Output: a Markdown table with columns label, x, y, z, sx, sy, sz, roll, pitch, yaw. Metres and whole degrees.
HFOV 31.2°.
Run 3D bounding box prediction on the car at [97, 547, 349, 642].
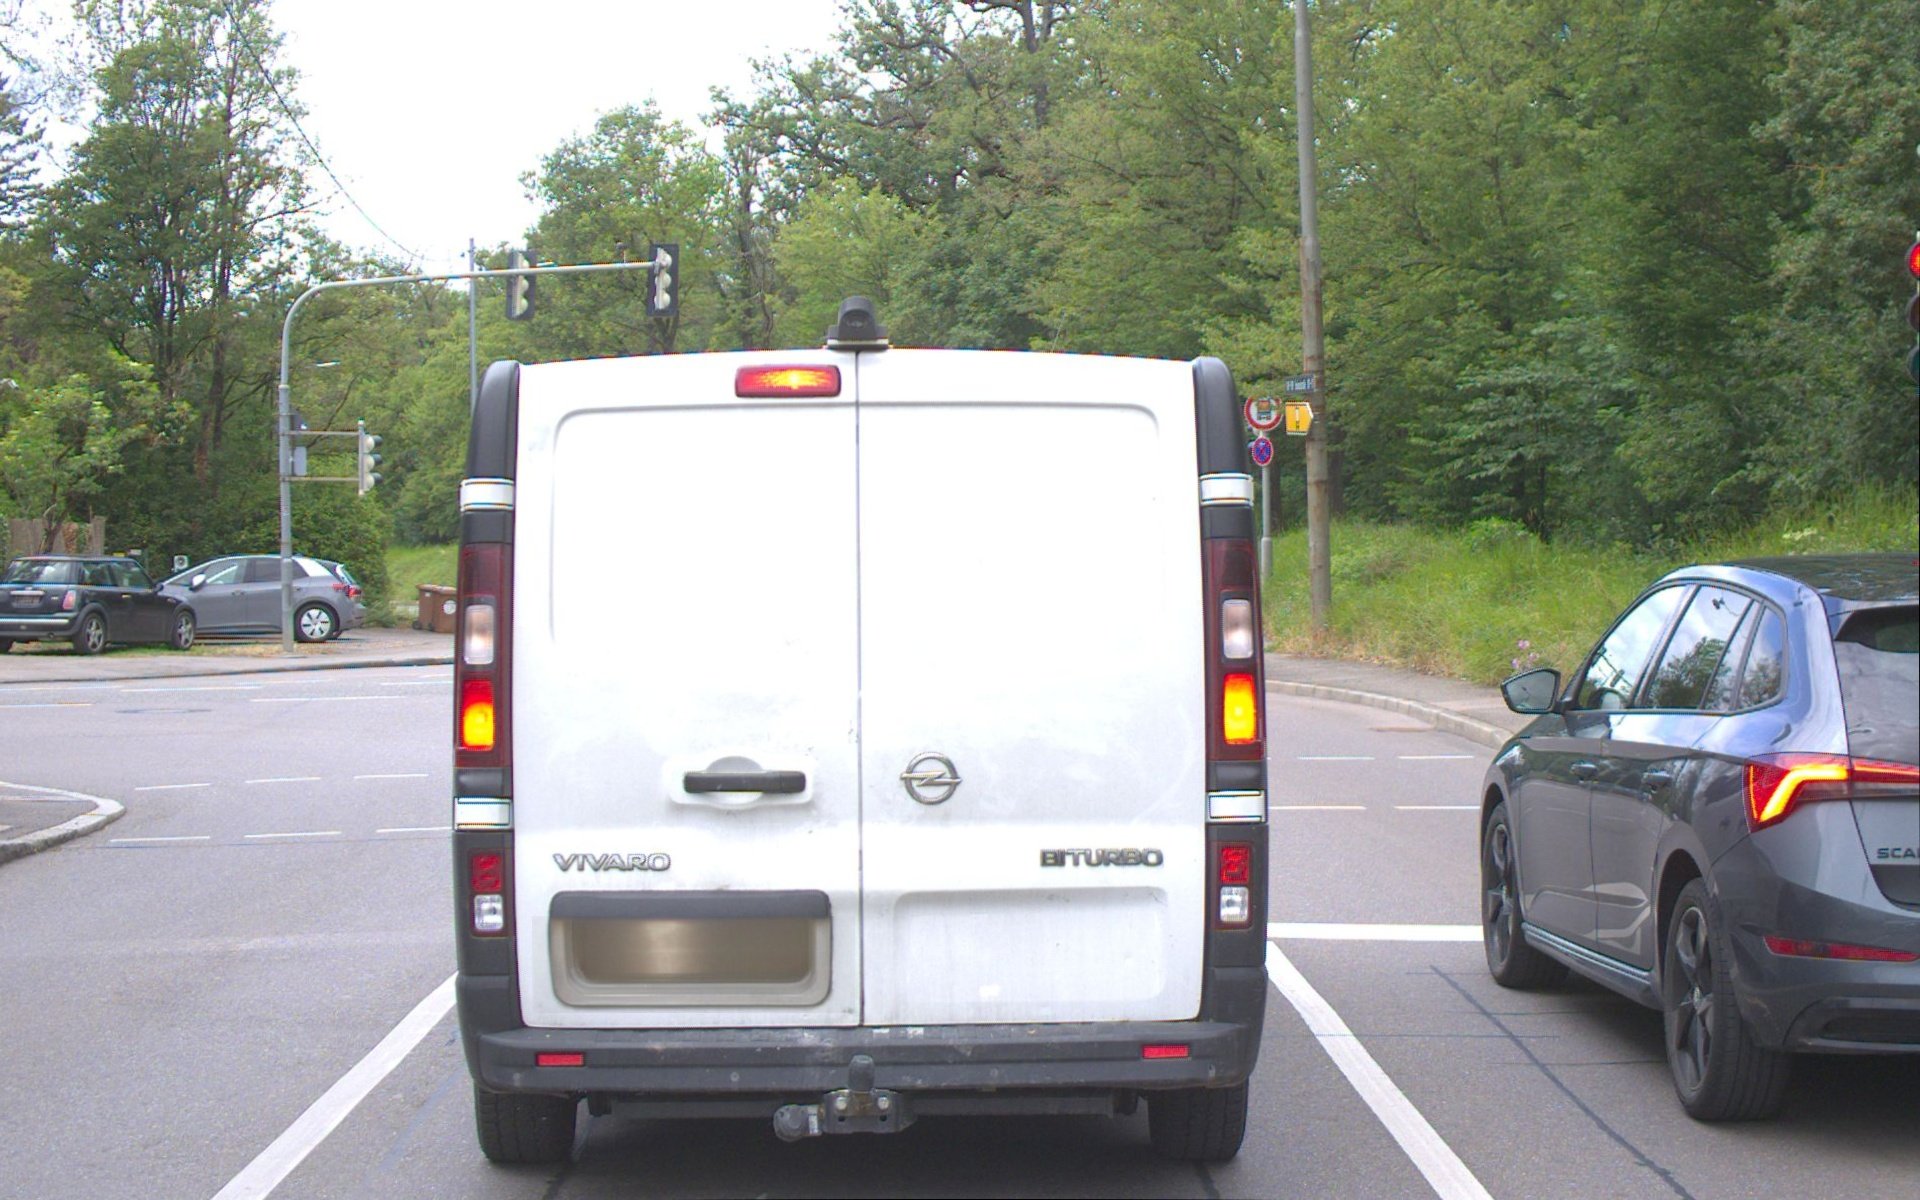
| label | x | y | z | sx | sy | sz | roll | pitch | yaw |
| --- | --- | --- | --- | --- | --- | --- | --- | --- | --- |
| car | -12.708 | -0.115 | 59.212 | 4.085 | 1.548 | 1.855 | -1 | 2 | -17 |

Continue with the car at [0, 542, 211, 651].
| label | x | y | z | sx | sy | sz | roll | pitch | yaw |
| --- | --- | --- | --- | --- | --- | --- | --- | --- | --- |
| car | -12.390 | -0.067 | 49.003 | 1.699 | 1.444 | 3.540 | 2 | 1 | 19 |

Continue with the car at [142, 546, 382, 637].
| label | x | y | z | sx | sy | sz | roll | pitch | yaw |
| --- | --- | --- | --- | --- | --- | --- | --- | --- | --- |
| car | -12.673 | -0.174 | 62.390 | 4.085 | 1.548 | 1.855 | -1 | 2 | -17 |

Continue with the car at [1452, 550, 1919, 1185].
| label | x | y | z | sx | sy | sz | roll | pitch | yaw |
| --- | --- | --- | --- | --- | --- | --- | --- | --- | --- |
| car | 2.672 | 0.592 | 10.008 | 1.792 | 1.445 | 4.000 | 0 | 1 | -2 |

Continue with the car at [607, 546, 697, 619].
| label | x | y | z | sx | sy | sz | roll | pitch | yaw |
| --- | --- | --- | --- | --- | --- | --- | --- | --- | --- |
| car | -6.636 | -0.397 | 74.286 | 1.856 | 1.501 | 4.001 | -1 | 1 | -5 |

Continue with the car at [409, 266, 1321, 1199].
| label | x | y | z | sx | sy | sz | roll | pitch | yaw |
| --- | --- | --- | --- | --- | --- | --- | --- | --- | --- |
| car | -0.307 | 0.286 | 9.677 | 1.916 | 2.046 | 4.615 | 1 | 1 | -3 |
